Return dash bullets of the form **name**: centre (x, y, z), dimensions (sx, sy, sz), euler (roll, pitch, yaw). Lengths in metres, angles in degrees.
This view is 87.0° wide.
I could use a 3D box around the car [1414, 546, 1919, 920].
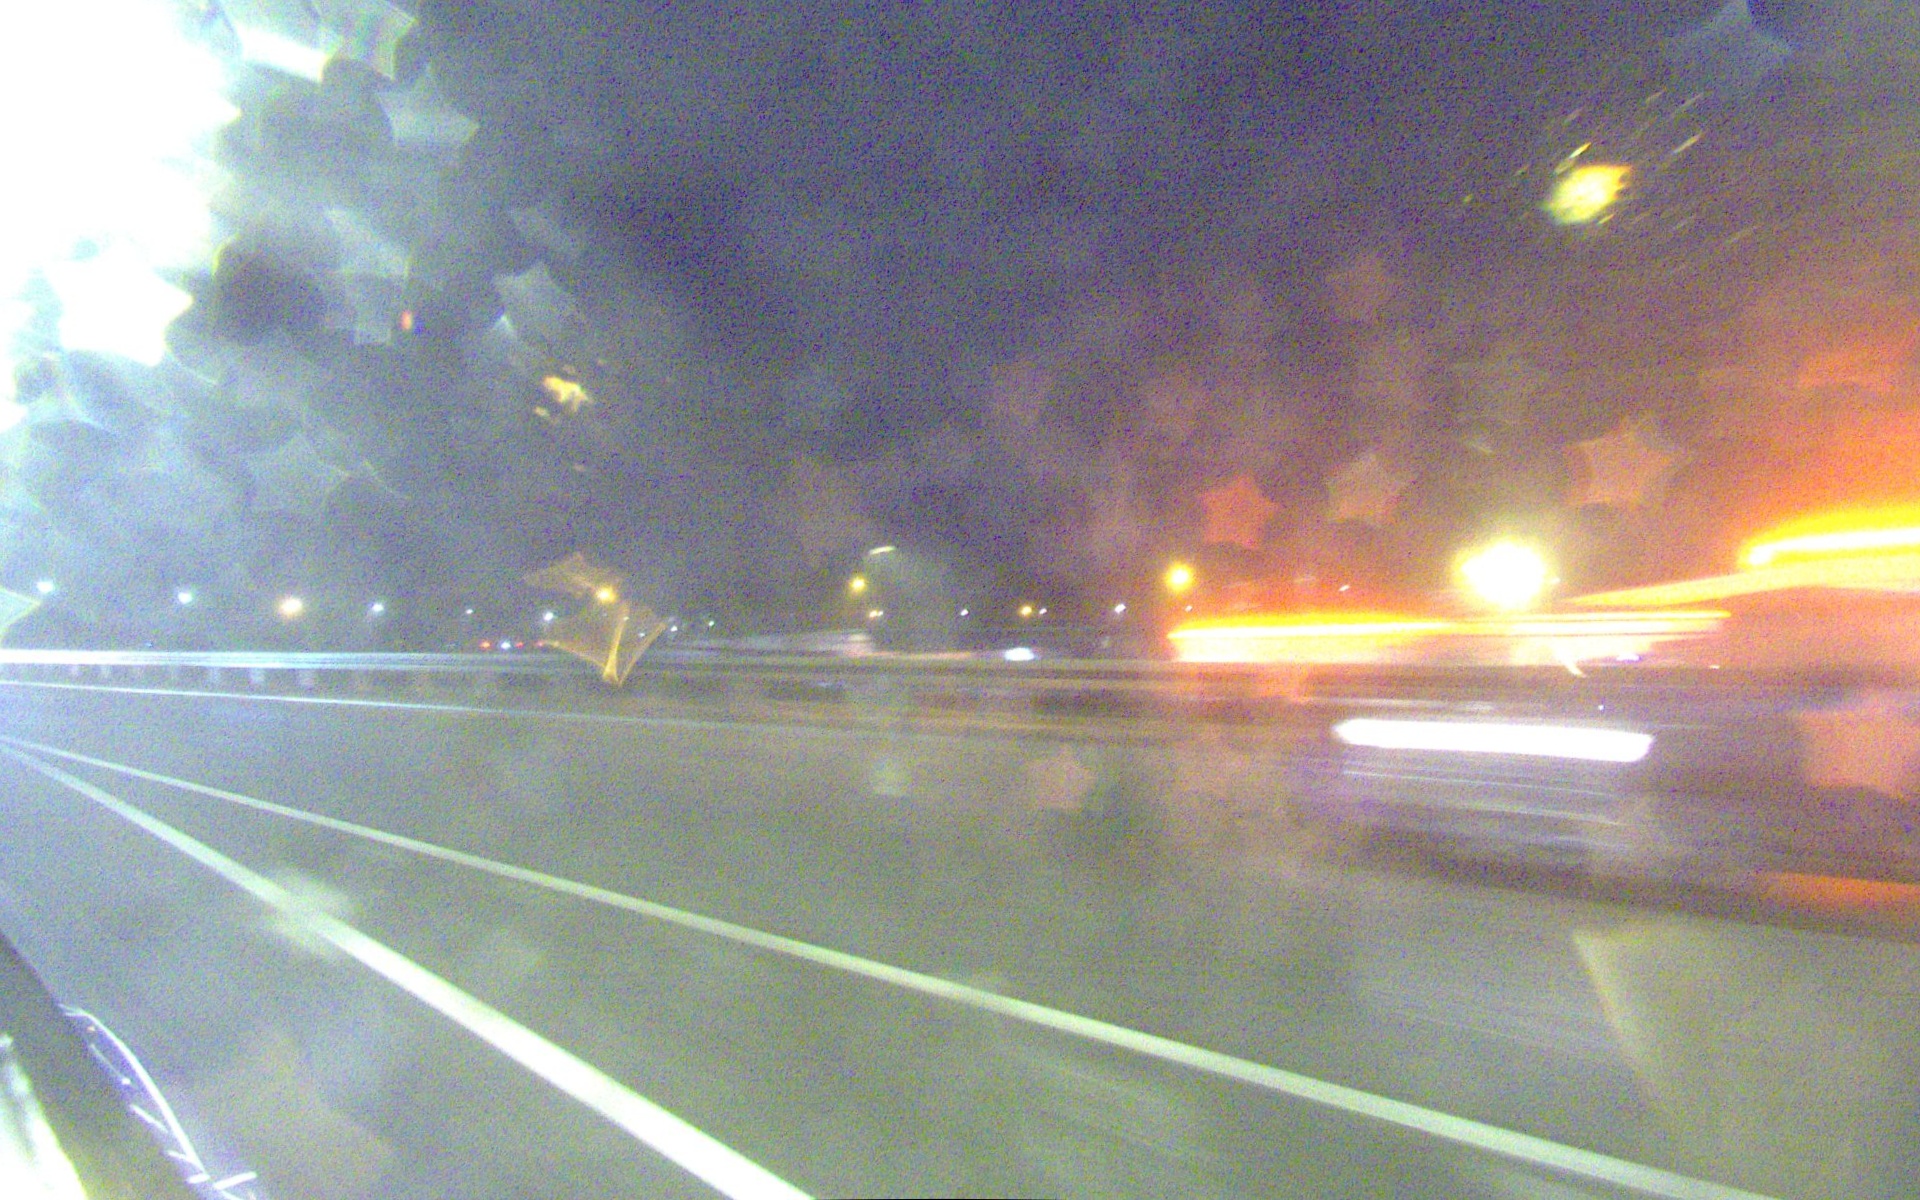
- **car**: centre (4.562, 0.541, 4.741), dimensions (4.179, 1.515, 1.810), euler (-1, -1, 36)
